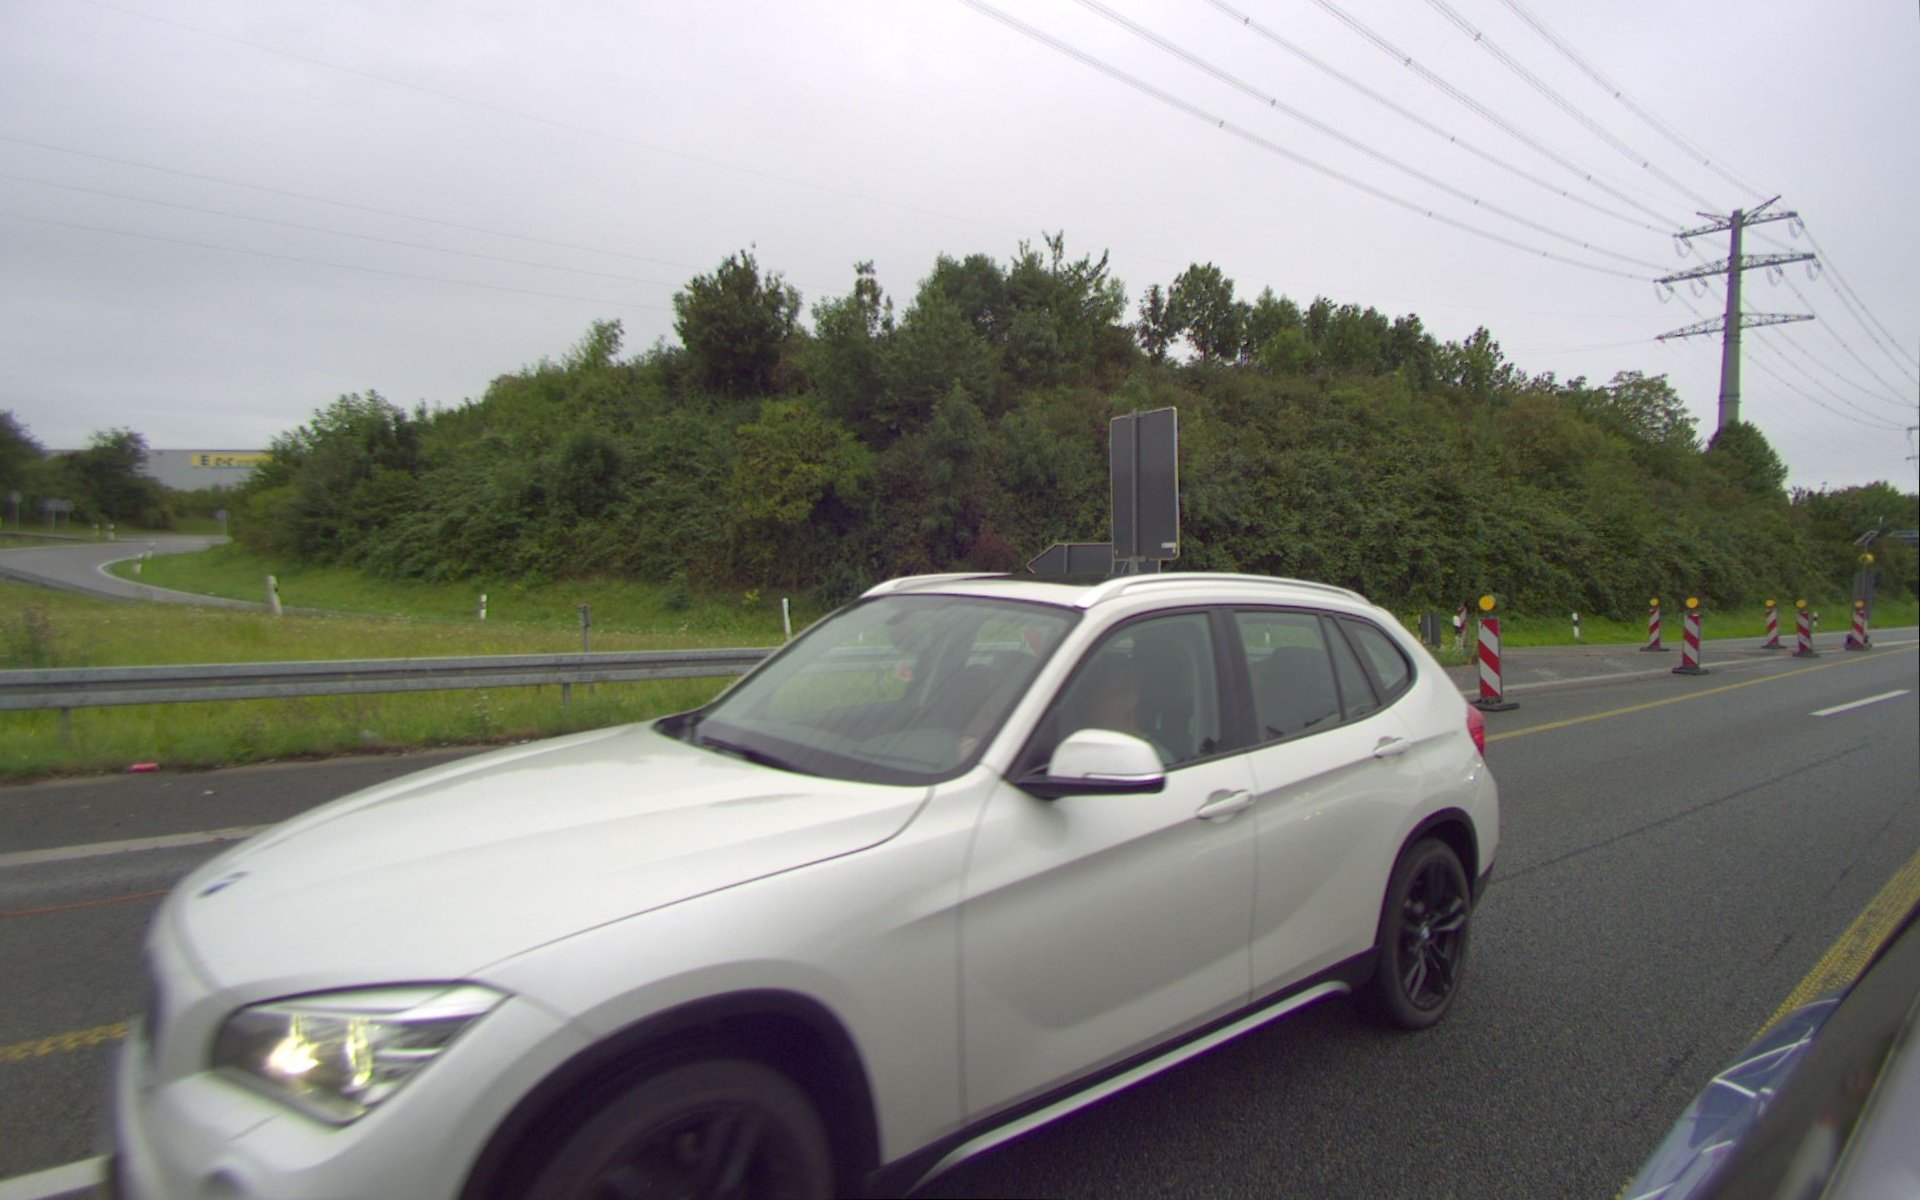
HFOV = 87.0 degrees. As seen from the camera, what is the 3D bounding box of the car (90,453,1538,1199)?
[{"bbox_3d":[-0.019,0.576,3.250,4.120,1.554,1.875,0,1,-39],"label":"car"}]
